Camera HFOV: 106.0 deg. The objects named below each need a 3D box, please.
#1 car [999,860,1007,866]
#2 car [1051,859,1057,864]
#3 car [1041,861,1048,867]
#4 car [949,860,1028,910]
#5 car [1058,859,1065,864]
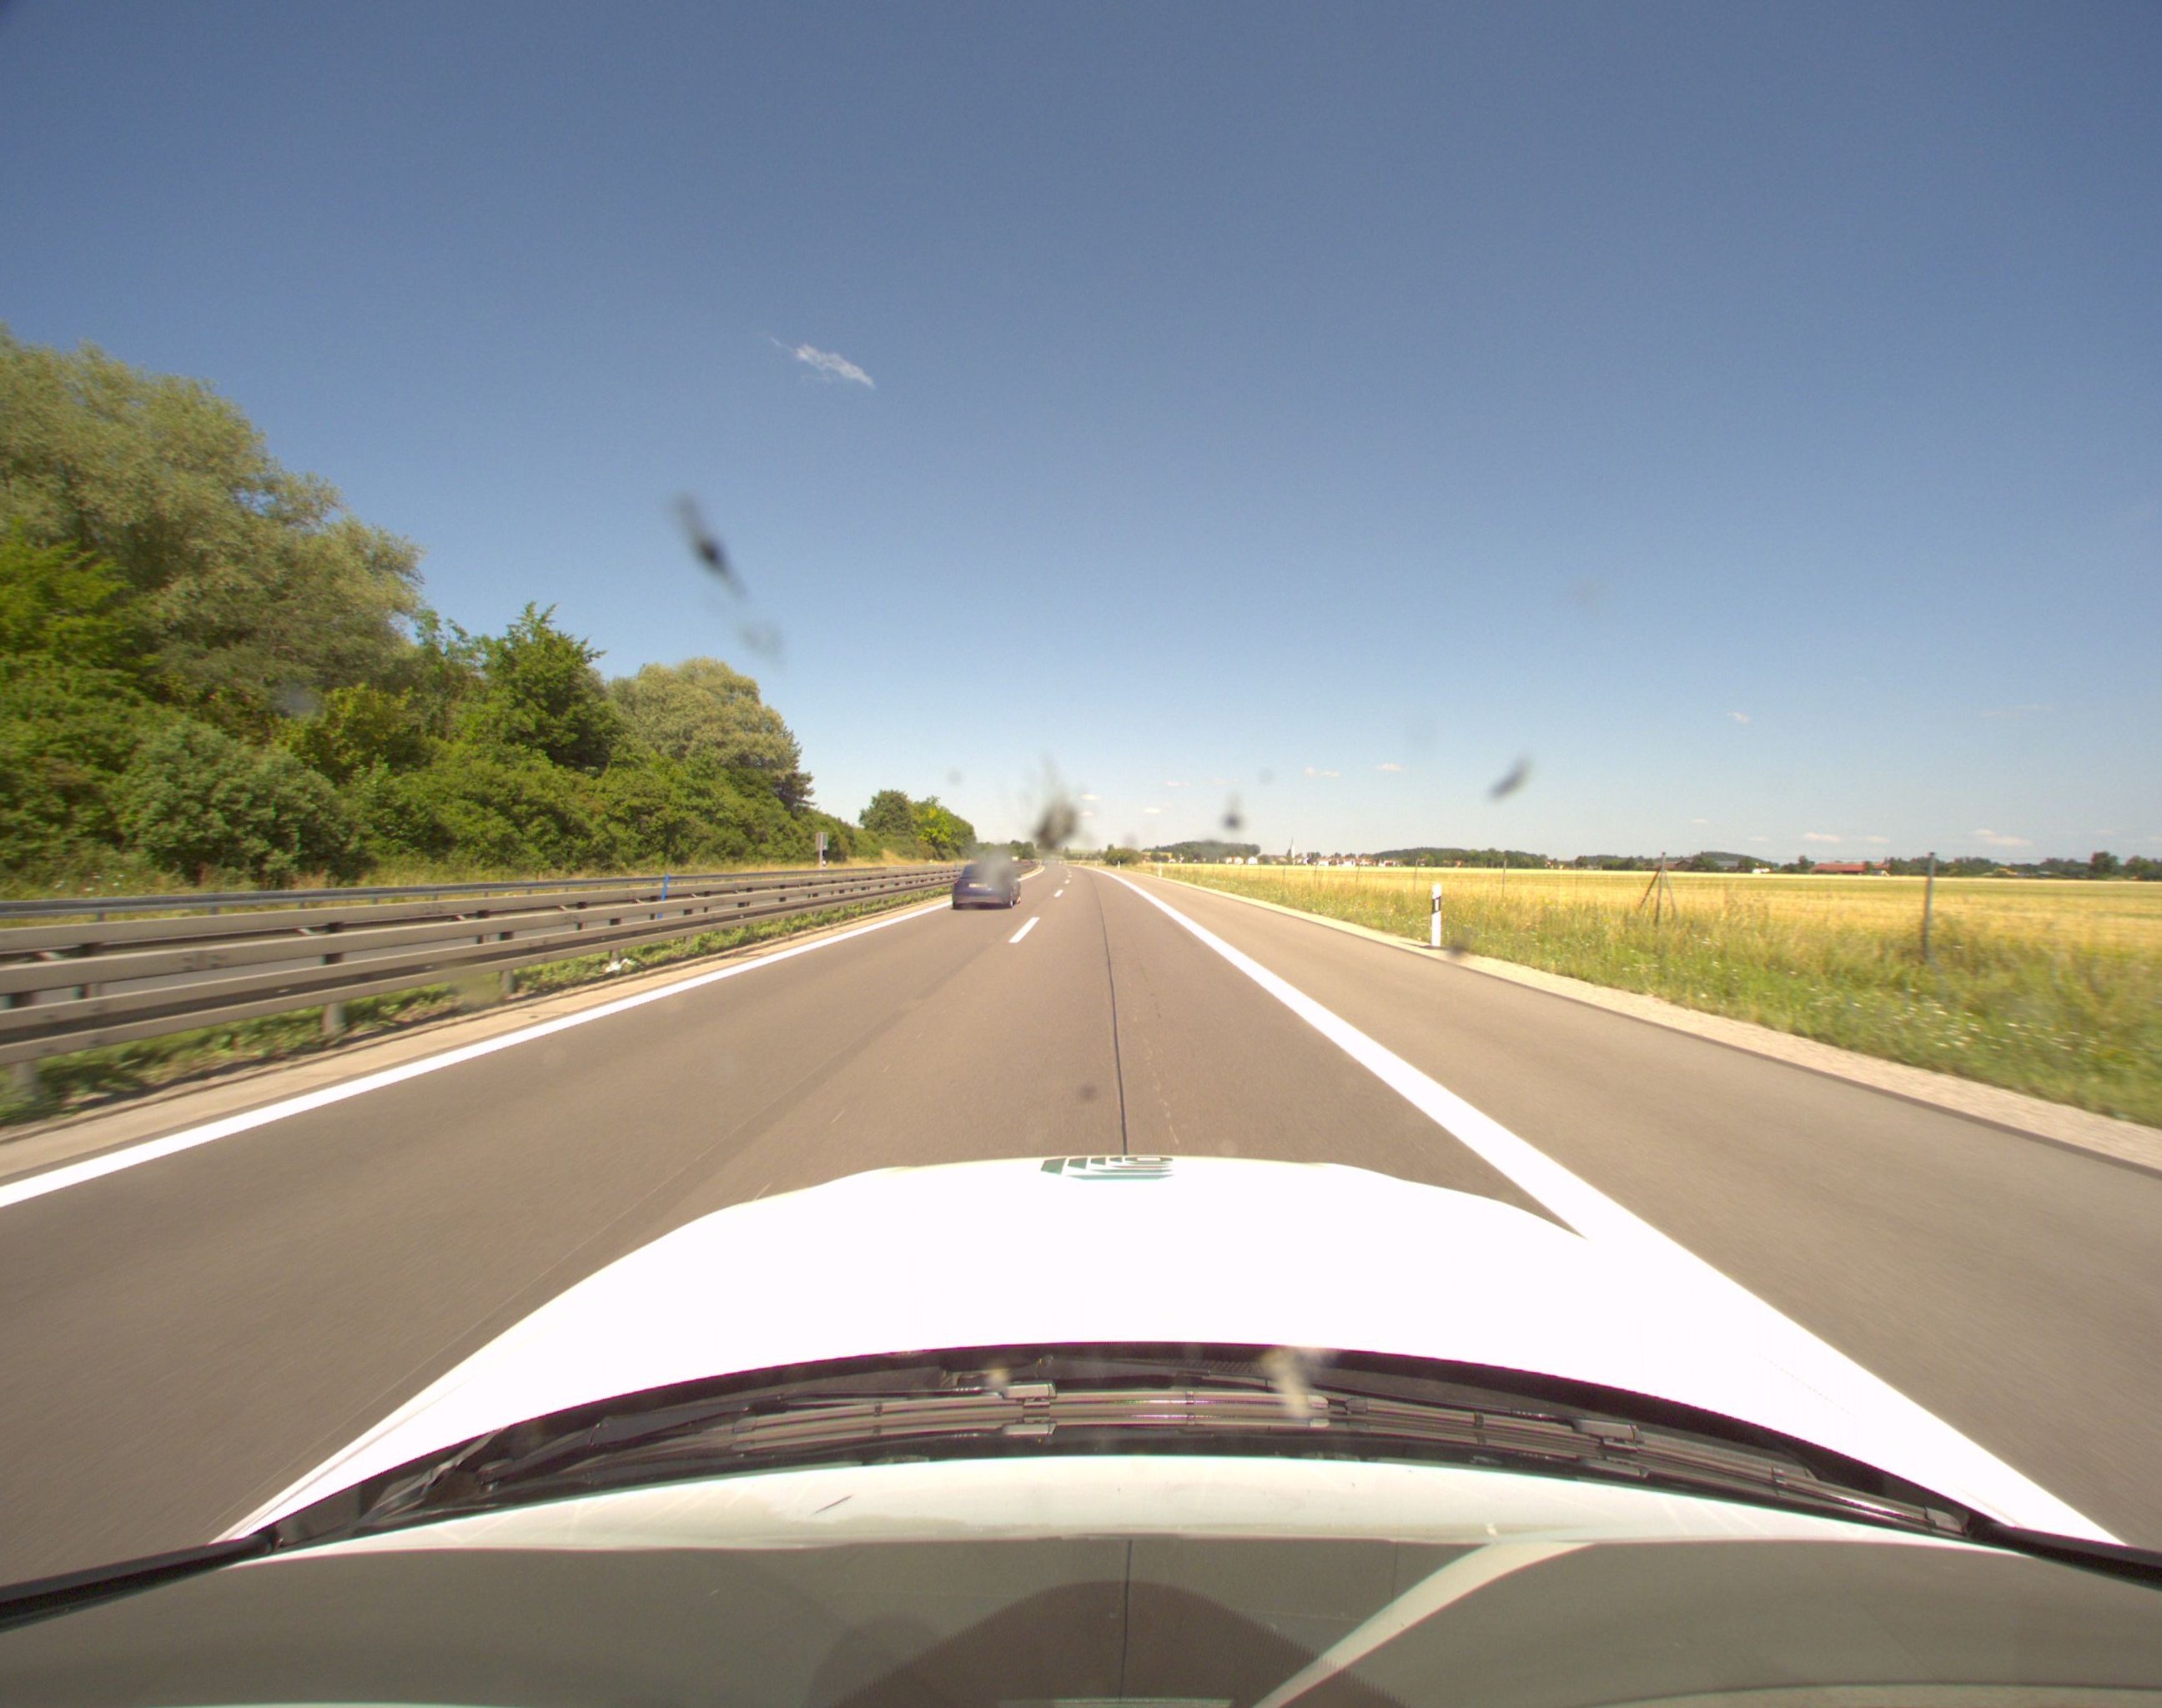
[{"bbox_3d":[-19.607,2.344,205.808,1.746,1.565,4.576,1,0,-2],"label":"car"},{"bbox_3d":[-8.279,2.399,251.669,1.672,1.453,3.588,0,-1,-3],"label":"car"},{"bbox_3d":[-9.649,2.674,214.397,1.672,1.453,3.588,0,-1,-2],"label":"car"},{"bbox_3d":[-2.929,0.938,27.126,1.841,1.433,5.867,0,0,1],"label":"car"},{"bbox_3d":[-5.181,1.964,212.559,1.672,1.453,3.588,0,-1,-3],"label":"car"}]
